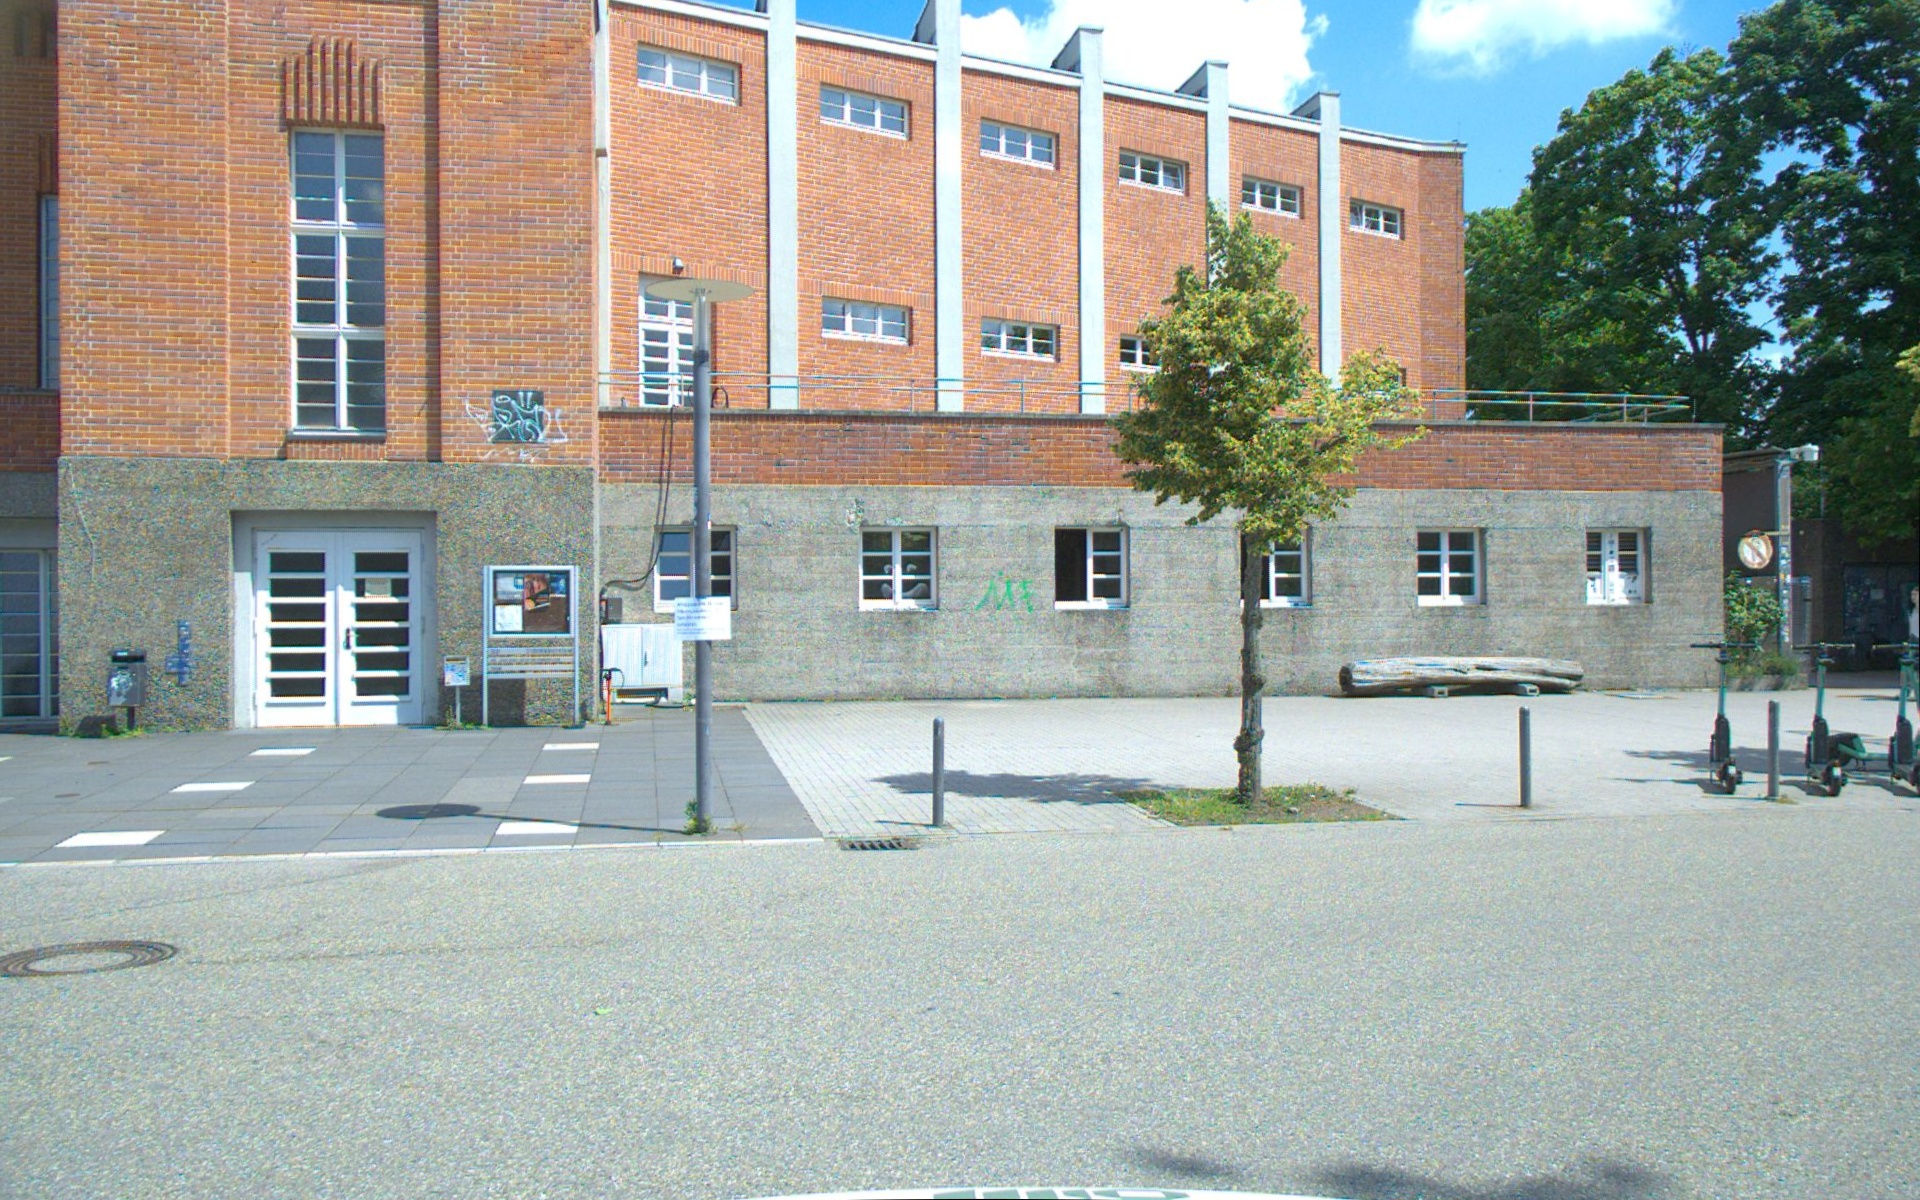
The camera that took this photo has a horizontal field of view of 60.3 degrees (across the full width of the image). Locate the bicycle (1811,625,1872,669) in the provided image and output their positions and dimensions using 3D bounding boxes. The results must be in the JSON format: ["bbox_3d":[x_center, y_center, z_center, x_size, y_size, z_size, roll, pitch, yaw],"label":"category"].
[{"bbox_3d":[18.612,0.987,34.917,1.205,0.899,0.304,0,0,-10],"label":"bicycle"}]

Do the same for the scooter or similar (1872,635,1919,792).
[{"bbox_3d":[8.257,0.937,14.087,0.511,1.246,1.576,0,0,16],"label":"scooter or similar"}]

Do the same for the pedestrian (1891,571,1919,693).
[{"bbox_3d":[14.648,0.470,24.948,0.898,1.811,0.576,0,0,-12],"label":"pedestrian"}]

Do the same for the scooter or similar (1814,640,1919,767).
[{"bbox_3d":[8.930,0.975,15.740,1.317,1.169,0.565,0,0,1],"label":"scooter or similar"}]

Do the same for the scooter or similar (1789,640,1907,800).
[{"bbox_3d":[7.531,0.981,14.085,0.551,1.246,1.576,0,0,16],"label":"scooter or similar"}]

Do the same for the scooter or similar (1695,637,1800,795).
[{"bbox_3d":[6.777,0.965,14.288,0.557,1.246,1.576,0,0,16],"label":"scooter or similar"}]
